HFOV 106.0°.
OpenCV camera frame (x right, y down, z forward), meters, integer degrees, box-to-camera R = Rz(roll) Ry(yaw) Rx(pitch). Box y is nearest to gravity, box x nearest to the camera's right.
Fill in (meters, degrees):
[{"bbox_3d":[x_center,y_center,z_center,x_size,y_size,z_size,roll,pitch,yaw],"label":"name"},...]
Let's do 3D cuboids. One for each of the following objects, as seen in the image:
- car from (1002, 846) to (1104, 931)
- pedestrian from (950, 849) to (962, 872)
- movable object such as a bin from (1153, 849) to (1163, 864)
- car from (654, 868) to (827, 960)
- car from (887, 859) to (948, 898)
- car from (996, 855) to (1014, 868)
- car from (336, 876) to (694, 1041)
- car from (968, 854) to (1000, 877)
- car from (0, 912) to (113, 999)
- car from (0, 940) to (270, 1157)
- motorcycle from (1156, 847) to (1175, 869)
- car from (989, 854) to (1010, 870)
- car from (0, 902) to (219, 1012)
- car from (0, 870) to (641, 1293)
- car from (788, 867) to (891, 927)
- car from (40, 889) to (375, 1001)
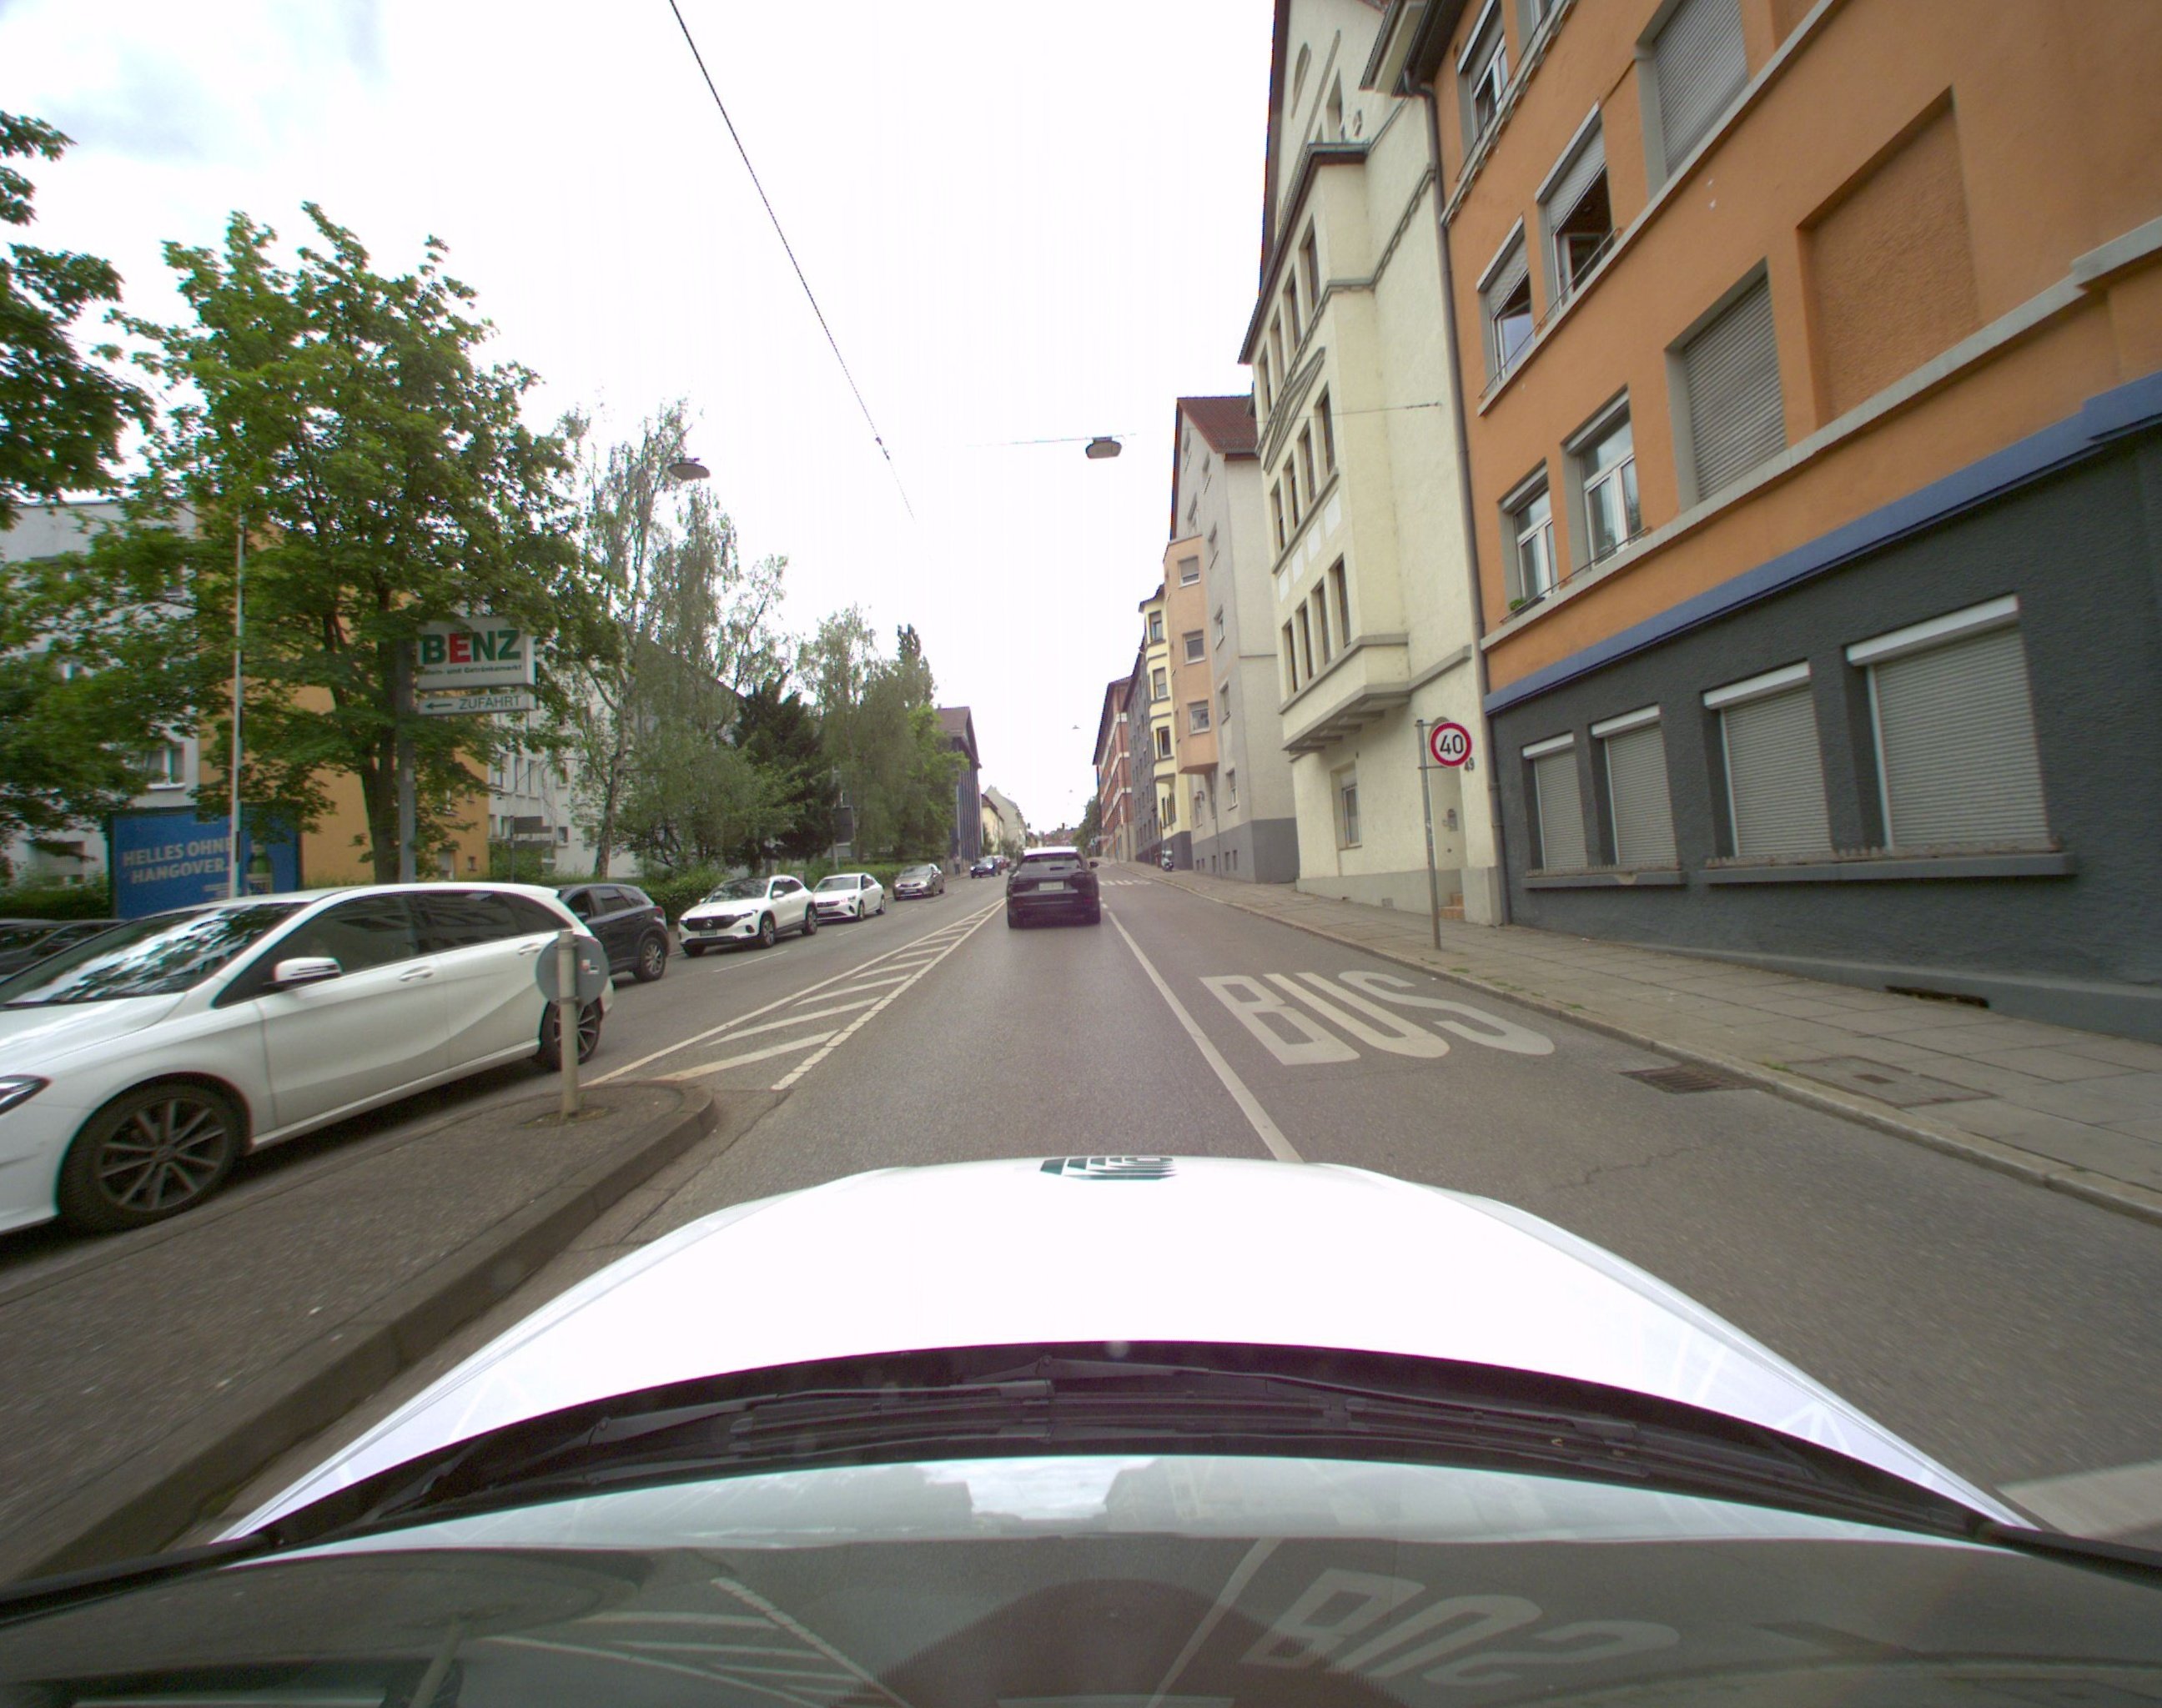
[{"bbox_3d":[-0.745,0.694,18.607,2.021,1.641,4.348,-2,0,-5],"label":"car"},{"bbox_3d":[-10.770,0.553,70.105,0.880,1.950,0.867,-1,0,-2],"label":"pedestrian"},{"bbox_3d":[4.893,0.146,51.853,0.473,0.892,0.516,-6,0,-2],"label":"movable object such as a bin"},{"bbox_3d":[-7.812,1.283,19.255,1.944,1.593,4.499,-6,0,1],"label":"car"},{"bbox_3d":[-7.289,1.060,36.682,1.834,1.448,4.309,-5,0,-1],"label":"car"},{"bbox_3d":[-8.839,0.837,94.529,1.710,1.341,3.902,-6,0,-1],"label":"car"},{"bbox_3d":[-7.912,1.327,12.078,1.944,1.642,4.416,-6,0,2],"label":"car"},{"bbox_3d":[-7.195,0.843,60.640,1.834,1.448,4.309,-5,0,-1],"label":"car"},{"bbox_3d":[-20.069,1.886,14.242,1.705,1.410,3.991,-1,0,-6],"label":"car"},{"bbox_3d":[-8.406,1.544,5.261,1.794,1.281,4.241,-6,0,4],"label":"car"},{"bbox_3d":[4.671,0.196,45.093,0.536,1.155,2.223,-6,1,-4],"label":"motorcycle"},{"bbox_3d":[-8.803,0.835,88.592,1.709,1.456,3.989,-6,0,0],"label":"car"},{"bbox_3d":[-17.527,1.699,13.684,1.700,1.501,4.003,-1,0,3],"label":"car"},{"bbox_3d":[-5.108,1.049,5.228,1.767,1.546,4.331,-6,0,5],"label":"car"},{"bbox_3d":[-7.432,1.269,25.469,1.833,1.412,4.074,-6,0,0],"label":"car"},{"bbox_3d":[-15.188,1.487,14.555,1.702,1.501,3.998,-1,0,-2],"label":"car"}]
